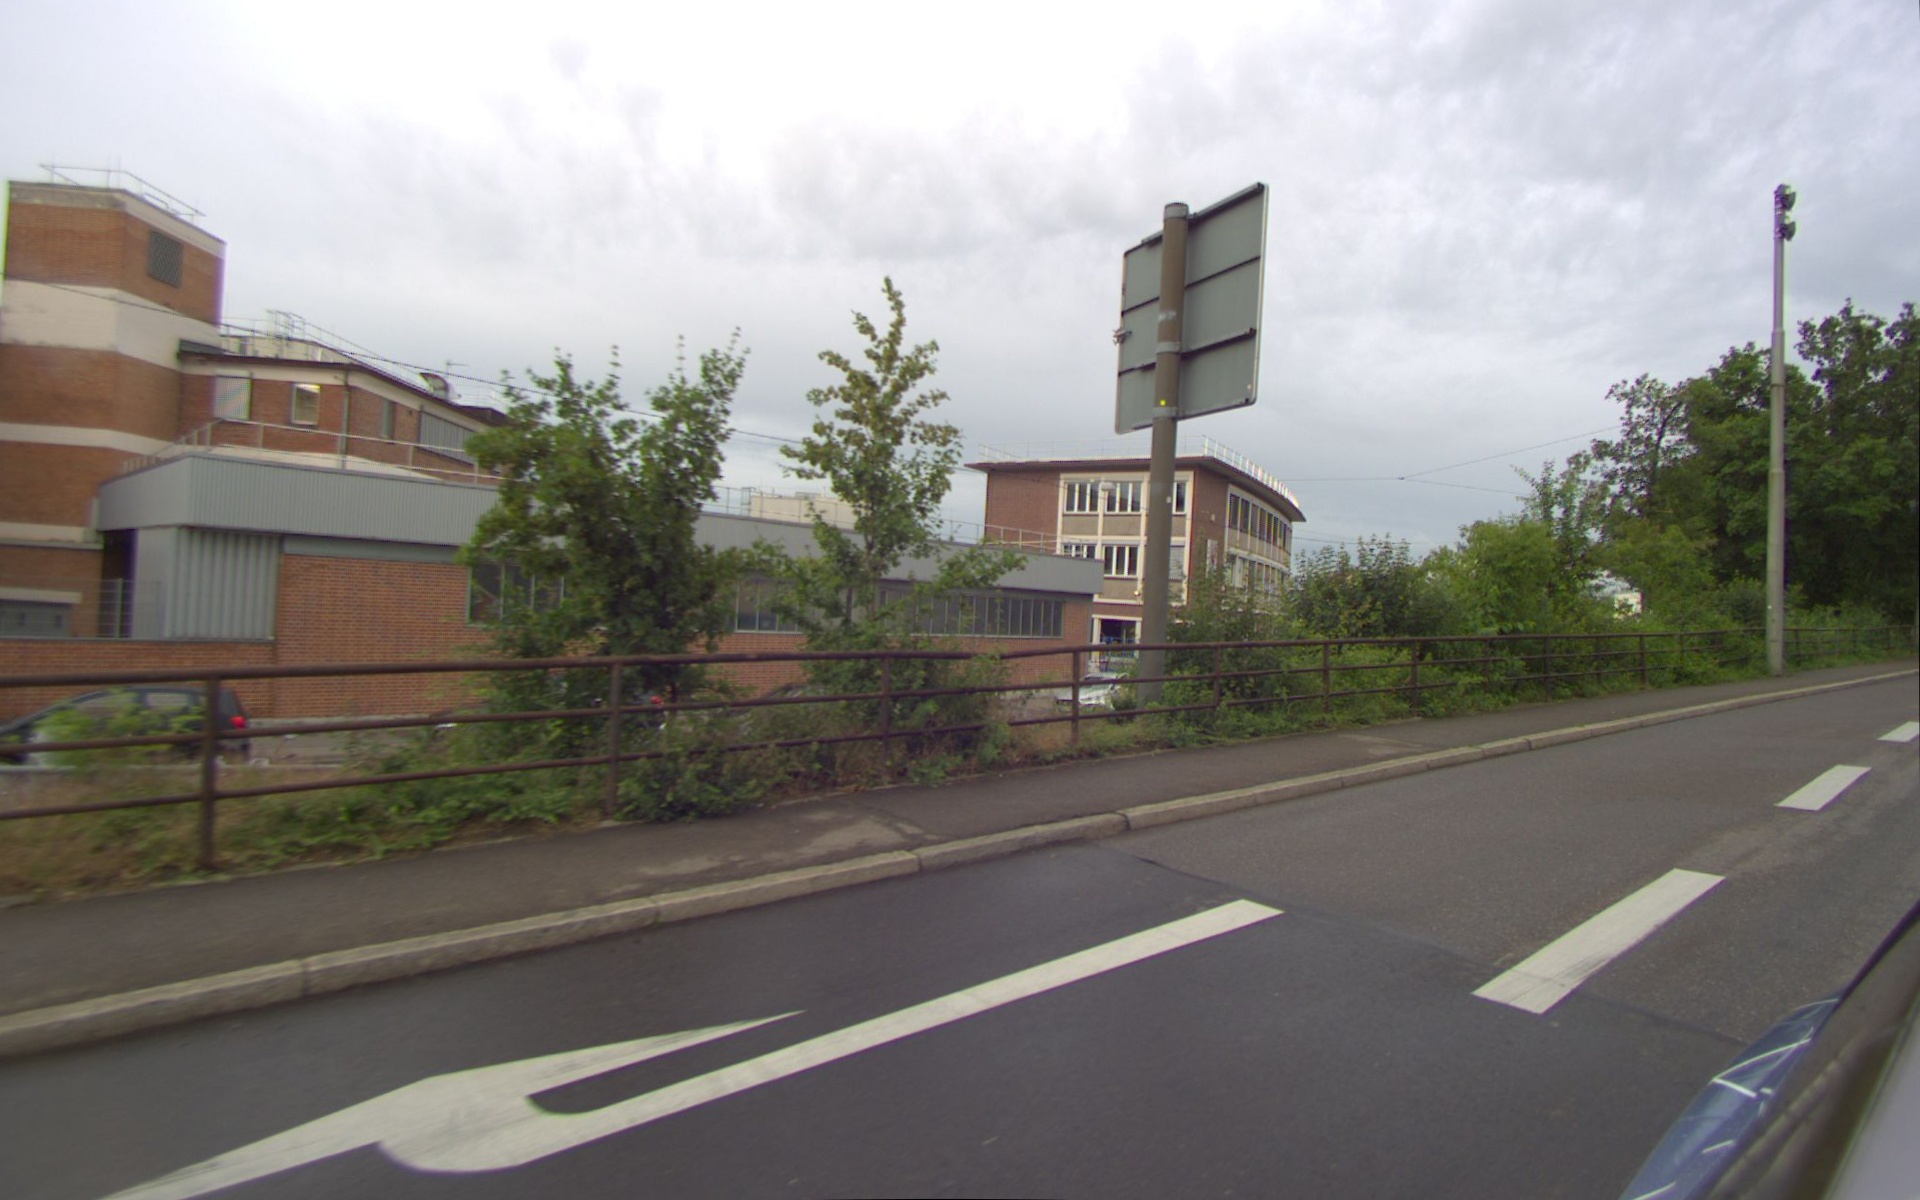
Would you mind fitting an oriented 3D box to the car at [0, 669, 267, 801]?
[{"bbox_3d":[-13.199,2.012,15.685,3.862,1.648,1.701,2,0,-41],"label":"car"}]

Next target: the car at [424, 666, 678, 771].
[{"bbox_3d":[-8.012,2.243,20.080,4.353,1.652,1.635,2,0,-42],"label":"car"}]
